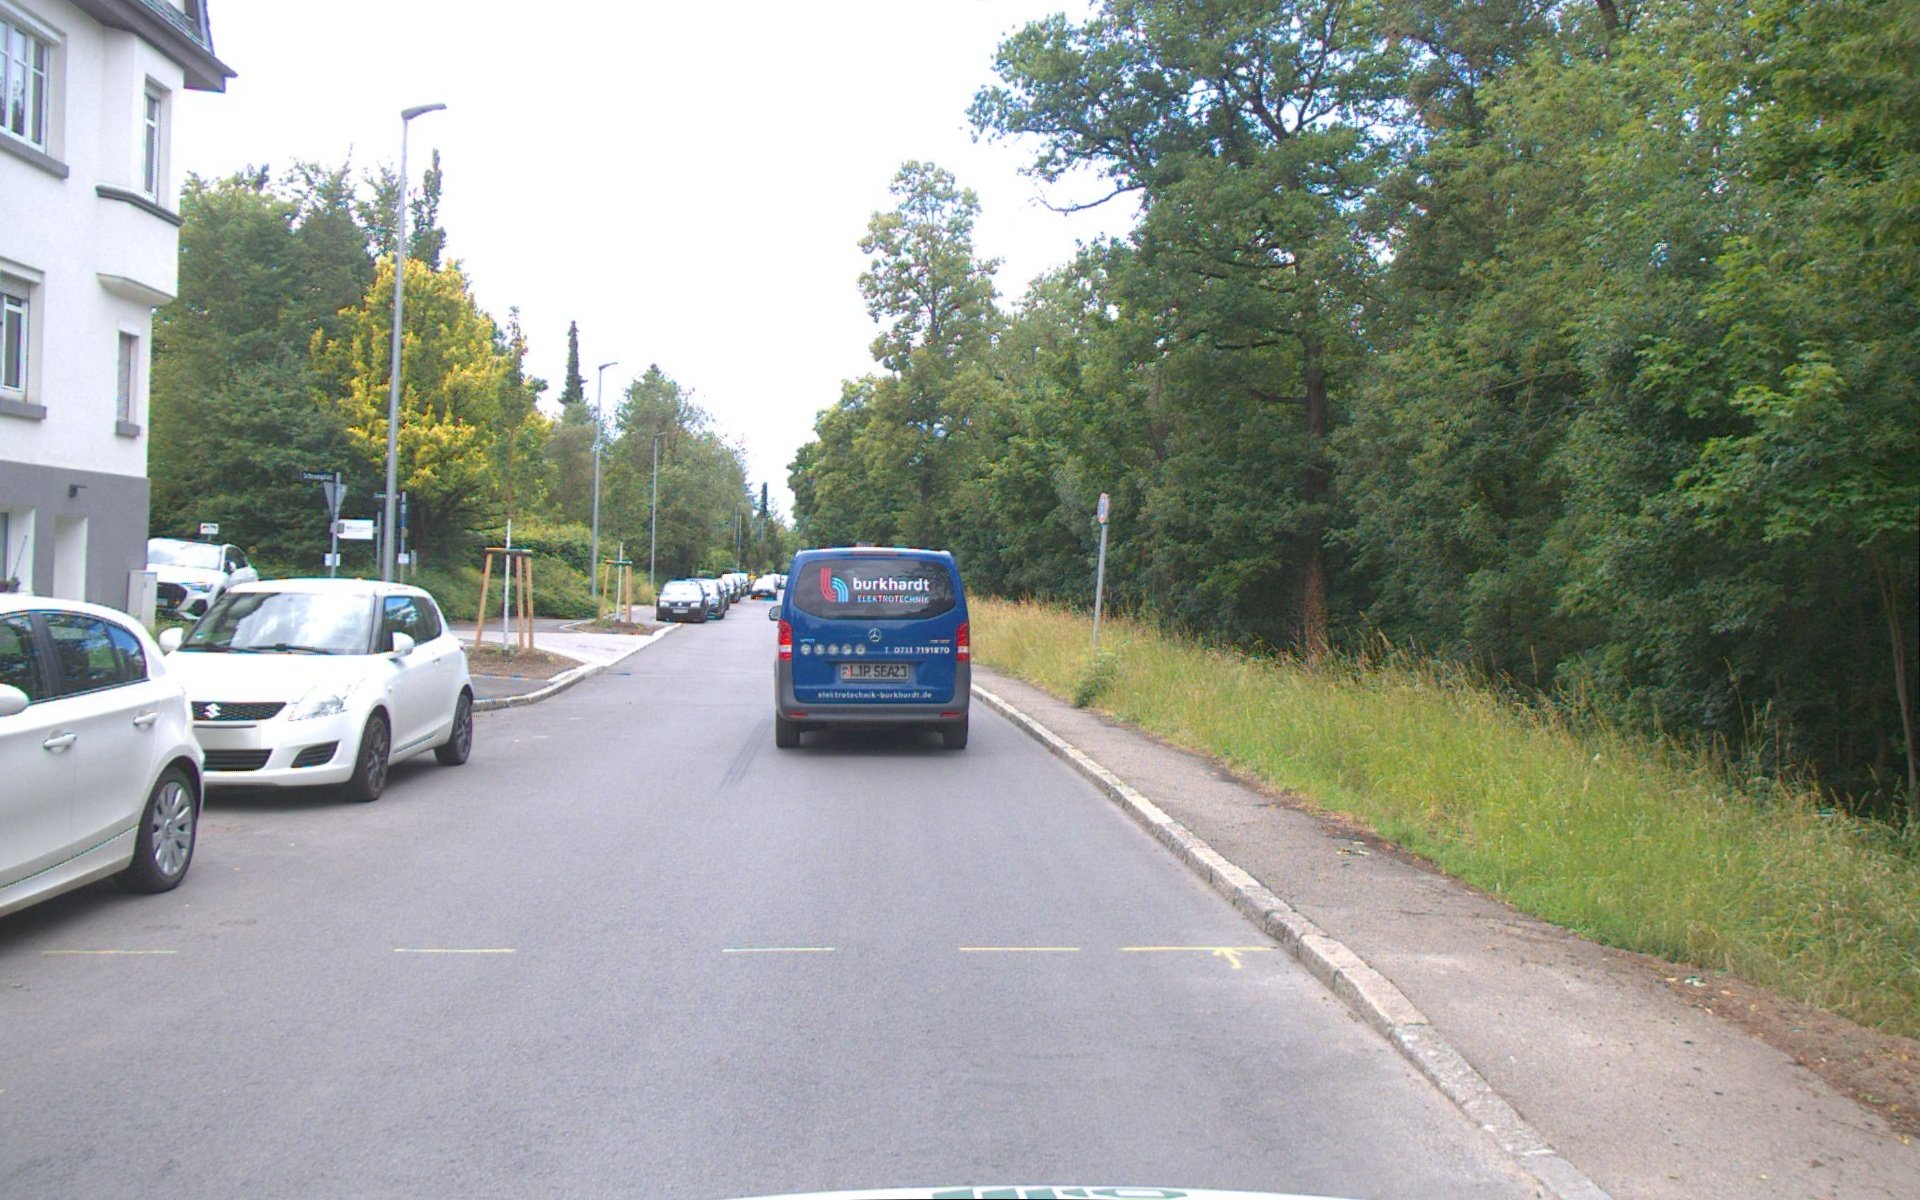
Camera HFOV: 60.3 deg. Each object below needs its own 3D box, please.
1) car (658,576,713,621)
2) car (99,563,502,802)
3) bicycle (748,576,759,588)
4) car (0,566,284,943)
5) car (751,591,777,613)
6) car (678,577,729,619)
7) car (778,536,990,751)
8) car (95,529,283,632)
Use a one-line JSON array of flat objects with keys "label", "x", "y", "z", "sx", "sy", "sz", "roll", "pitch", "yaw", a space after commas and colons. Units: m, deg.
[{"label": "car", "x": -9.758, "y": -0.072, "z": 59.063, "sx": 1.650, "sy": 1.508, "sz": 4.687, "roll": 1, "pitch": 1, "yaw": -6}, {"label": "car", "x": -4.718, "y": 0.507, "z": 12.468, "sx": 1.610, "sy": 1.495, "sz": 4.068, "roll": 0, "pitch": 0, "yaw": -4}, {"label": "bicycle", "x": -23.395, "y": -2.051, "z": 187.255, "sx": 0.888, "sy": 1.273, "sz": 2.914, "roll": 5, "pitch": 0, "yaw": -3}, {"label": "car", "x": -4.462, "y": 0.575, "z": 6.701, "sx": 1.690, "sy": 1.414, "sz": 4.723, "roll": 0, "pitch": 0, "yaw": -3}, {"label": "car", "x": -14.018, "y": 0.129, "z": 118.376, "sx": 1.747, "sy": 1.450, "sz": 4.482, "roll": 2, "pitch": 1, "yaw": -7}, {"label": "car", "x": -9.900, "y": -0.111, "z": 64.044, "sx": 1.673, "sy": 1.508, "sz": 4.490, "roll": 1, "pitch": 1, "yaw": -6}, {"label": "car", "x": -0.890, "y": 0.330, "z": 16.788, "sx": 1.852, "sy": 1.876, "sz": 3.995, "roll": 2, "pitch": 2, "yaw": -6}, {"label": "car", "x": -13.714, "y": -0.307, "z": 29.716, "sx": 1.872, "sy": 1.559, "sz": 4.585, "roll": 5, "pitch": -1, "yaw": -11}]
